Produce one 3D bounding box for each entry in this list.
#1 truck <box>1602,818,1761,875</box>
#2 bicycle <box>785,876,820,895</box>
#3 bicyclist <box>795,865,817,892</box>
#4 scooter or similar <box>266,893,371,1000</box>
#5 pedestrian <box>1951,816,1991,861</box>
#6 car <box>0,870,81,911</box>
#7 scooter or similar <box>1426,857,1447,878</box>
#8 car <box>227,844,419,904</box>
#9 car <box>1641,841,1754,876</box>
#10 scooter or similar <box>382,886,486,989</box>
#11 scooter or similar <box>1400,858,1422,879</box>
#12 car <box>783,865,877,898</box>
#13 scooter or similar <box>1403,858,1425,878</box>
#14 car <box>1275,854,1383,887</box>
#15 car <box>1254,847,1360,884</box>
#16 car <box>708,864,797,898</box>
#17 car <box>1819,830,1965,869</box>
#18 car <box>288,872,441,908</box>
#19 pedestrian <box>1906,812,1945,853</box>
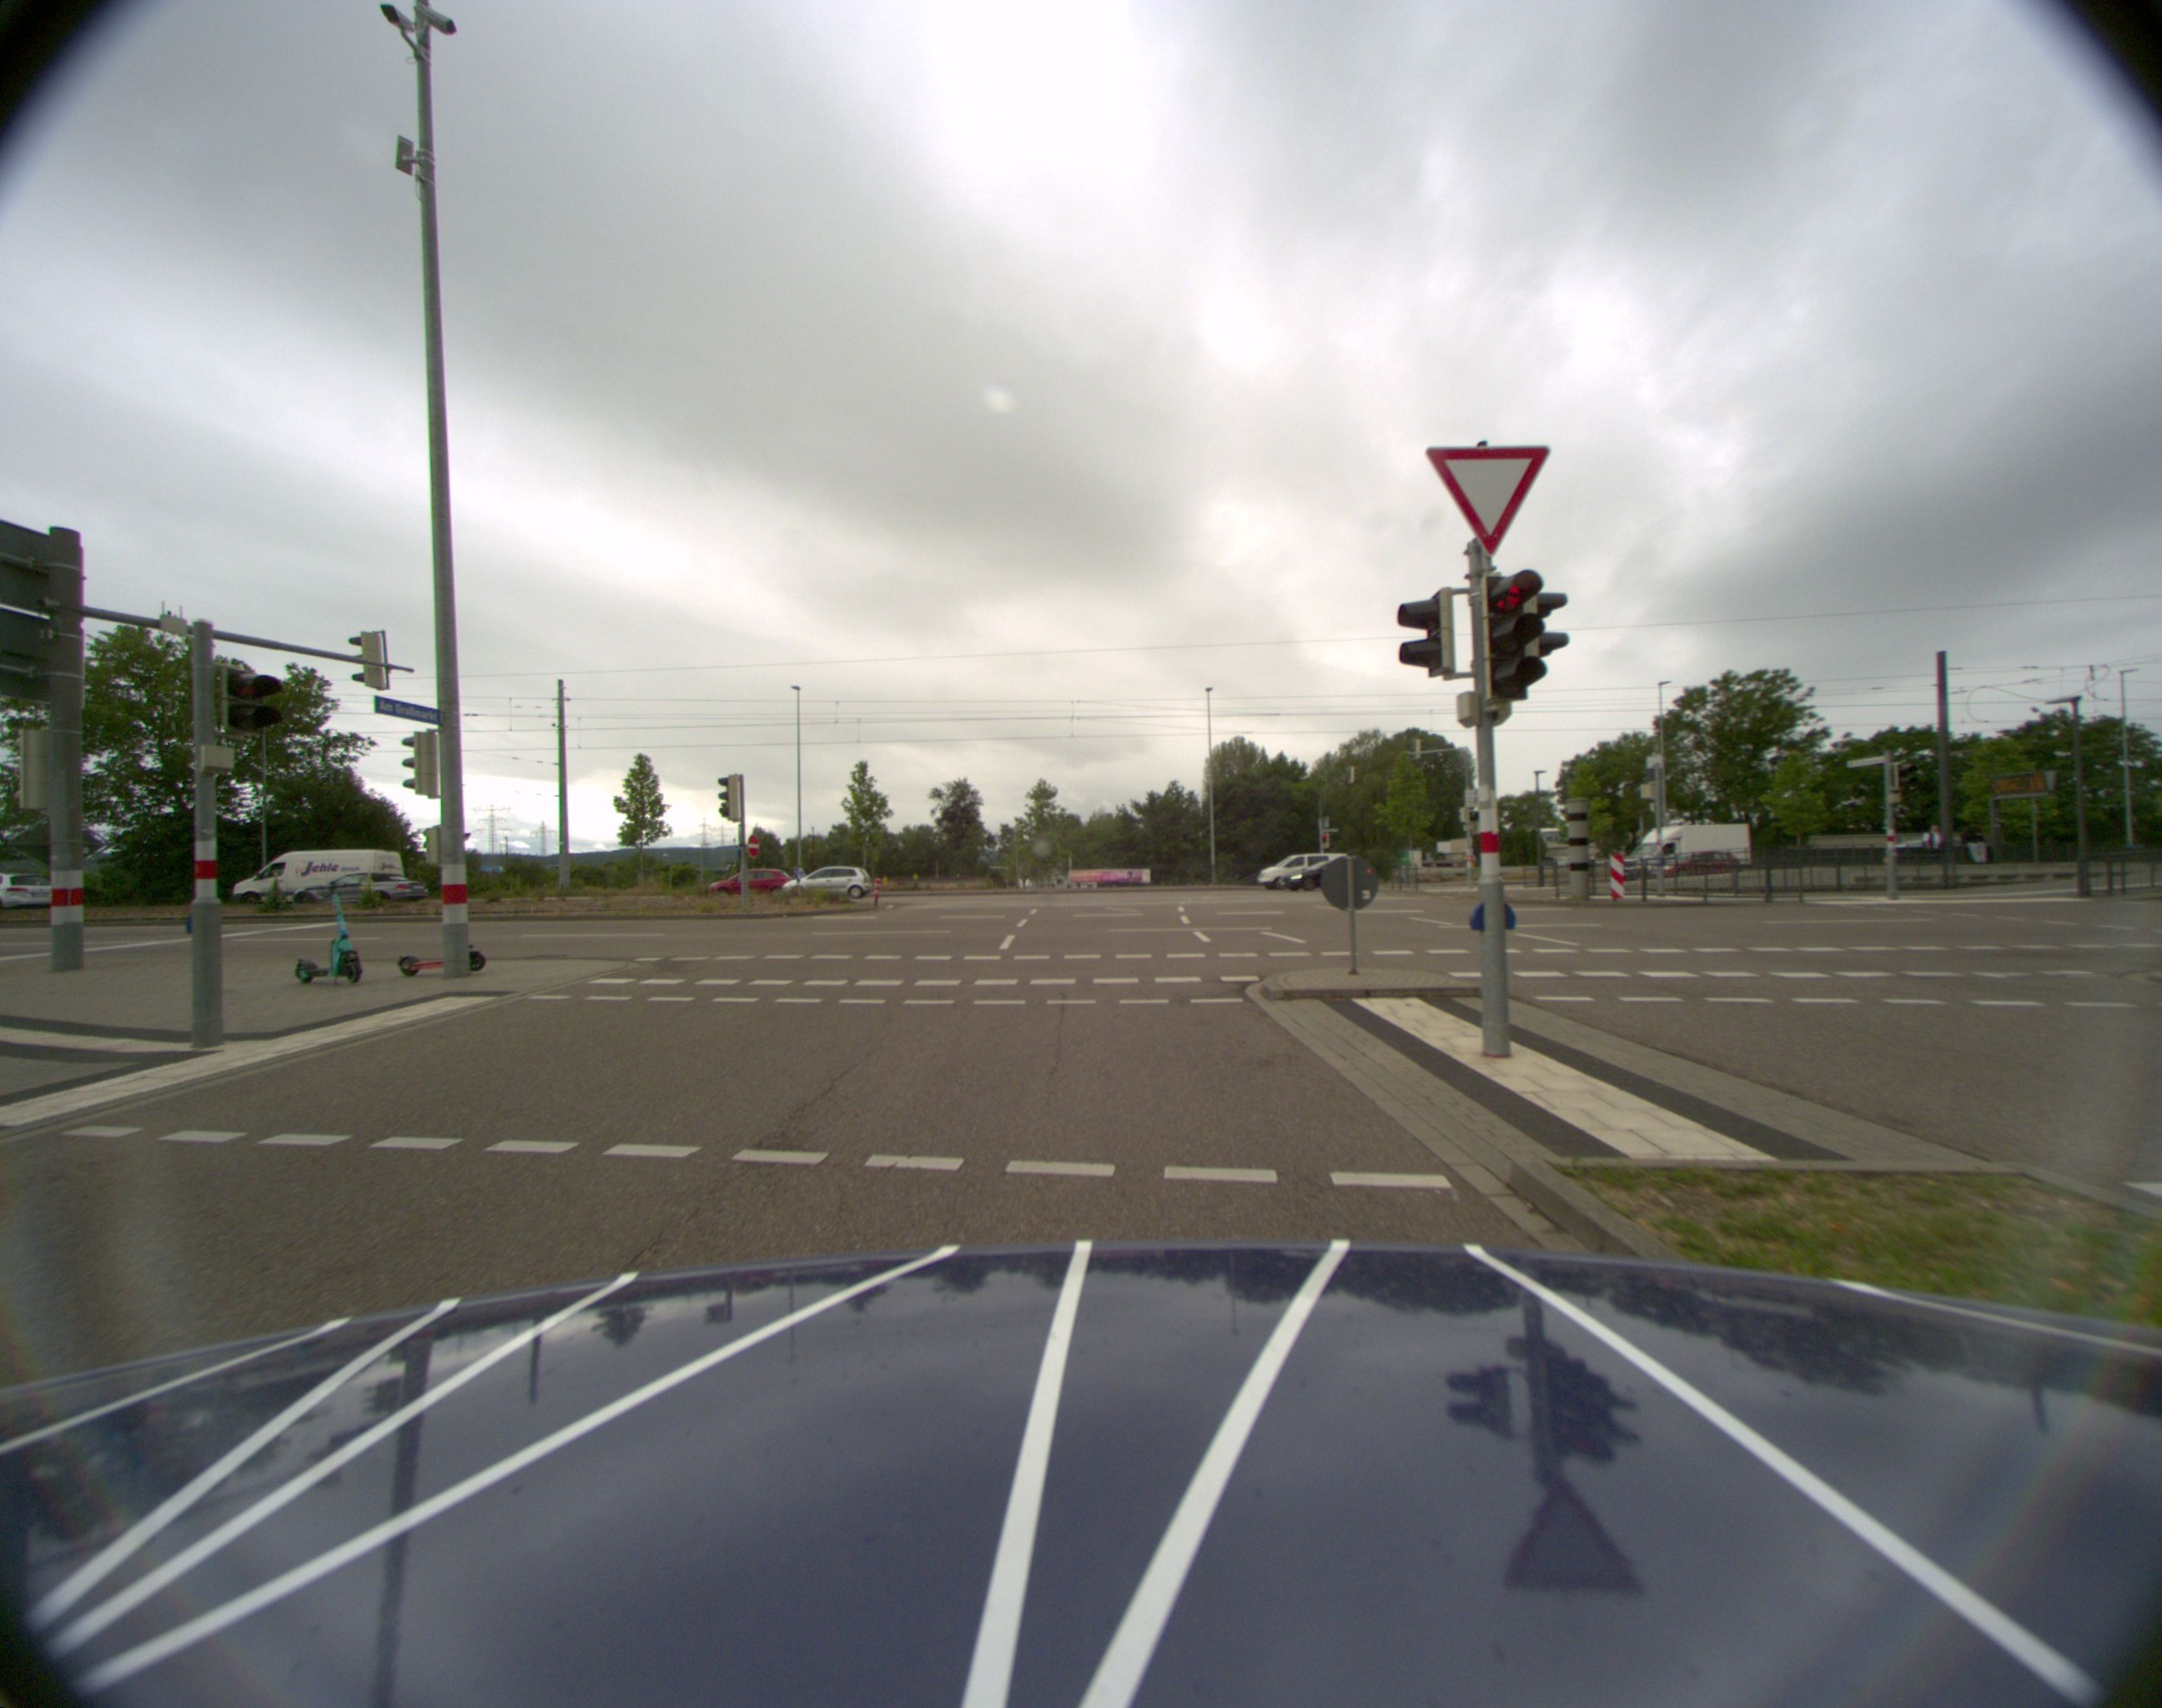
[{"bbox_3d":[33.104,-0.372,42.066,6.540,2.905,2.829,-1,-2,-1],"label":"truck"},{"bbox_3d":[-15.411,1.751,42.109,1.709,1.040,0.548,0,2,-9],"label":"bicycle"},{"bbox_3d":[-15.219,1.365,42.081,0.968,1.445,0.691,0,2,-8],"label":"bicyclist"},{"bbox_3d":[-9.317,1.114,9.287,1.113,1.249,0.321,-1,3,14],"label":"scooter or similar"},{"bbox_3d":[35.462,-0.600,30.286,0.586,1.731,0.788,-2,-2,3],"label":"pedestrian"},{"bbox_3d":[-41.975,1.423,29.160,4.201,1.542,1.860,-1,-2,-10],"label":"car"},{"bbox_3d":[21.841,0.806,46.738,1.046,1.208,0.375,-4,0,6],"label":"scooter or similar"},{"bbox_3d":[-35.082,0.931,35.396,5.899,2.609,2.664,-1,-2,-9],"label":"car"},{"bbox_3d":[31.324,0.242,38.702,4.245,1.641,1.785,-1,-2,0],"label":"car"},{"bbox_3d":[-8.291,1.055,9.746,1.016,1.249,0.465,-1,2,14],"label":"scooter or similar"},{"bbox_3d":[20.251,0.875,46.592,1.153,1.236,0.478,-1,1,6],"label":"scooter or similar"},{"bbox_3d":[-11.341,1.253,34.536,3.850,1.410,1.682,-1,-2,-10],"label":"car"},{"bbox_3d":[20.631,0.877,47.034,1.154,1.236,0.391,-1,1,1],"label":"scooter or similar"},{"bbox_3d":[11.422,0.773,35.193,4.341,1.382,2.000,-1,-2,-2],"label":"car"},{"bbox_3d":[12.292,0.673,41.561,5.118,1.868,2.101,-1,-2,-3],"label":"car"},{"bbox_3d":[-16.162,1.322,37.581,3.772,1.551,1.655,-1,-2,-12],"label":"car"},{"bbox_3d":[34.515,-0.175,32.422,4.369,1.400,1.678,-2,-2,0],"label":"car"},{"bbox_3d":[-29.642,1.487,31.561,4.343,1.382,1.876,-1,-2,-8],"label":"car"},{"bbox_3d":[33.178,-0.843,29.862,0.632,1.550,0.711,-2,-2,2],"label":"pedestrian"}]
